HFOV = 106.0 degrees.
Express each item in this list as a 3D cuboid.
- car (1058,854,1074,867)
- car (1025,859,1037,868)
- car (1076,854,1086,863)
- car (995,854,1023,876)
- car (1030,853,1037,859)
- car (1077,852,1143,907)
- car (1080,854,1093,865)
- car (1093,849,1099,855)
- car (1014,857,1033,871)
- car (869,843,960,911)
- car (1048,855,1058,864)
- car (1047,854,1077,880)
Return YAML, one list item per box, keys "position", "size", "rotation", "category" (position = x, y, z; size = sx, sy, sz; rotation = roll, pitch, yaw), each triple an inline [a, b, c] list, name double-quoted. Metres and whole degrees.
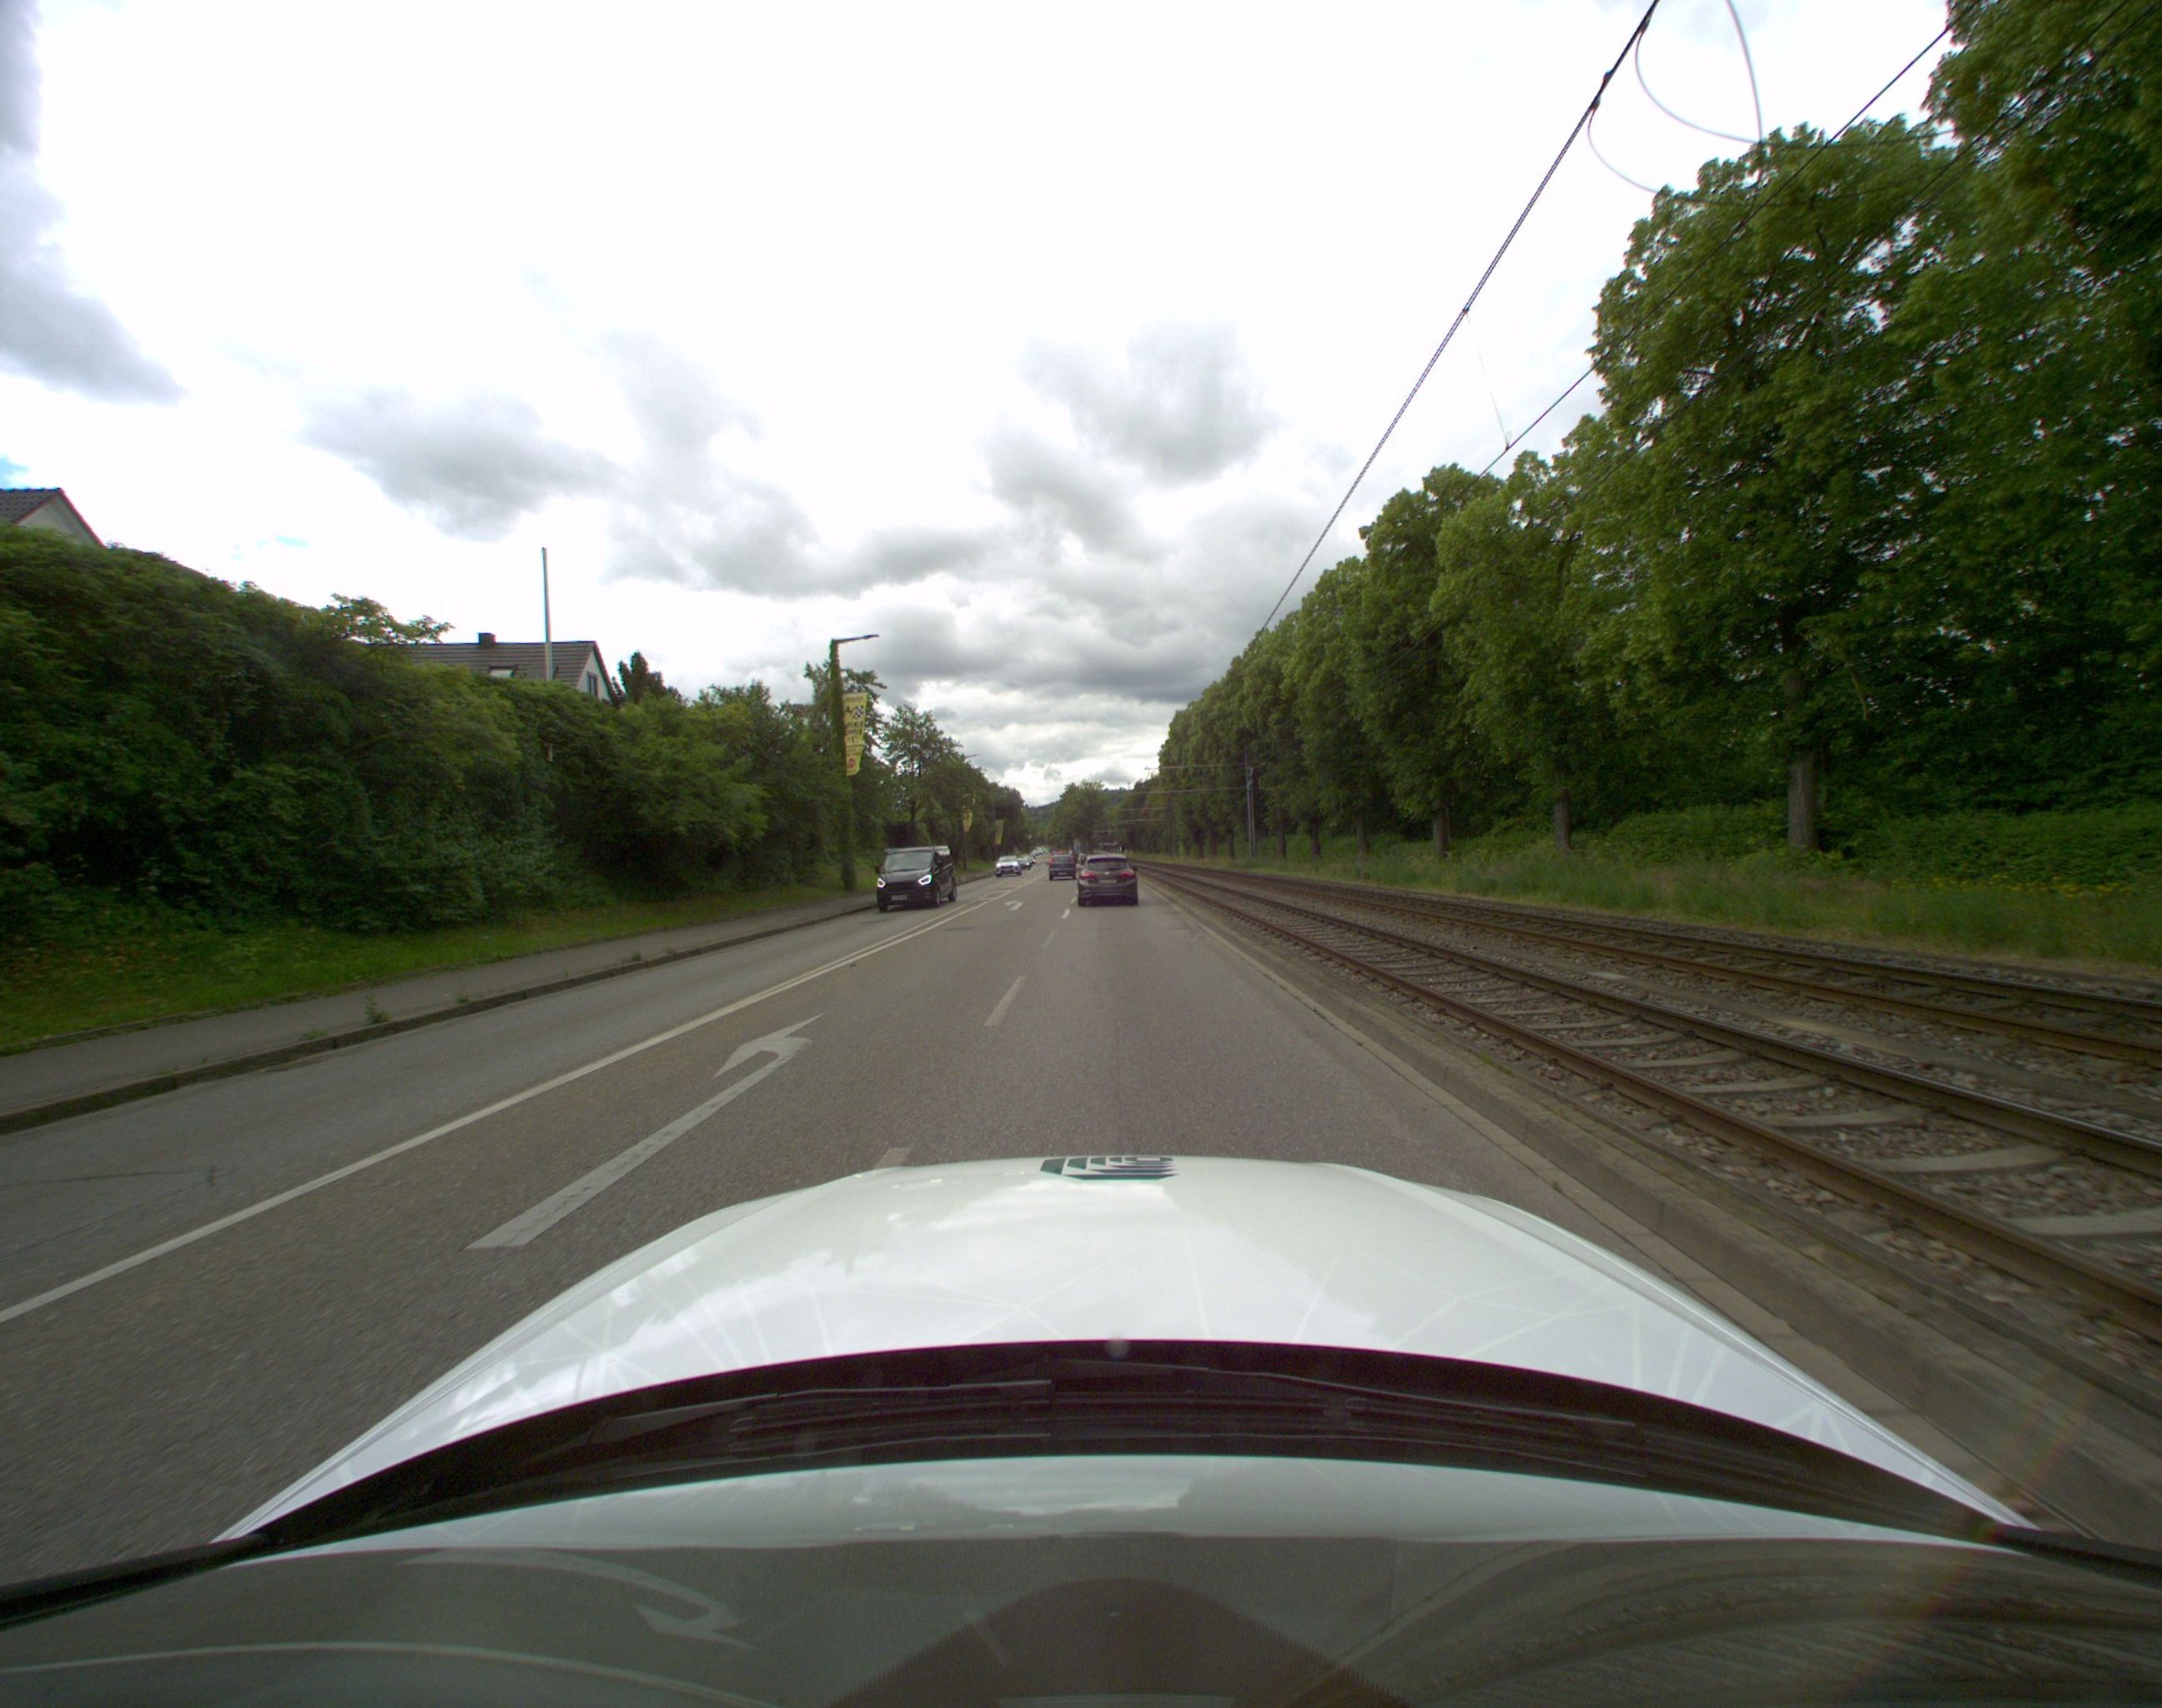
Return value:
- position: [-1.804, 0.776, 98.316]
  size: [1.709, 1.435, 4.000]
  rotation: [-2, -1, 0]
  category: "car"
- position: [-8.648, 1.678, 140.886]
  size: [1.837, 1.375, 4.442]
  rotation: [-4, 0, -3]
  category: "car"
- position: [-0.027, 0.889, 151.292]
  size: [1.709, 1.550, 4.000]
  rotation: [-2, -1, 0]
  category: "car"
- position: [-5.752, 0.879, 65.401]
  size: [1.836, 1.620, 4.158]
  rotation: [-4, 0, 0]
  category: "car"
- position: [-13.289, 0.518, 228.049]
  size: [1.710, 1.760, 3.997]
  rotation: [-2, -1, -2]
  category: "car"
- position: [0.878, 0.719, 25.056]
  size: [1.844, 1.493, 4.001]
  rotation: [-2, 0, 2]
  category: "car"
- position: [0.764, 0.758, 111.019]
  size: [1.709, 1.550, 4.000]
  rotation: [-2, -1, 0]
  category: "car"
- position: [4.172, -0.482, 228.209]
  size: [1.710, 1.663, 3.705]
  rotation: [-2, -1, -2]
  category: "car"
- position: [-6.436, 1.068, 91.925]
  size: [1.761, 1.400, 4.214]
  rotation: [-4, 0, -1]
  category: "car"
- position: [-5.641, 0.727, 28.285]
  size: [1.987, 2.036, 5.115]
  rotation: [-4, 0, 0]
  category: "car"
- position: [-5.607, 1.131, 162.693]
  size: [1.693, 1.714, 4.002]
  rotation: [-2, 0, 2]
  category: "car"
- position: [-1.094, 0.753, 48.693]
  size: [1.694, 1.443, 3.999]
  rotation: [-2, 0, -1]
  category: "car"
